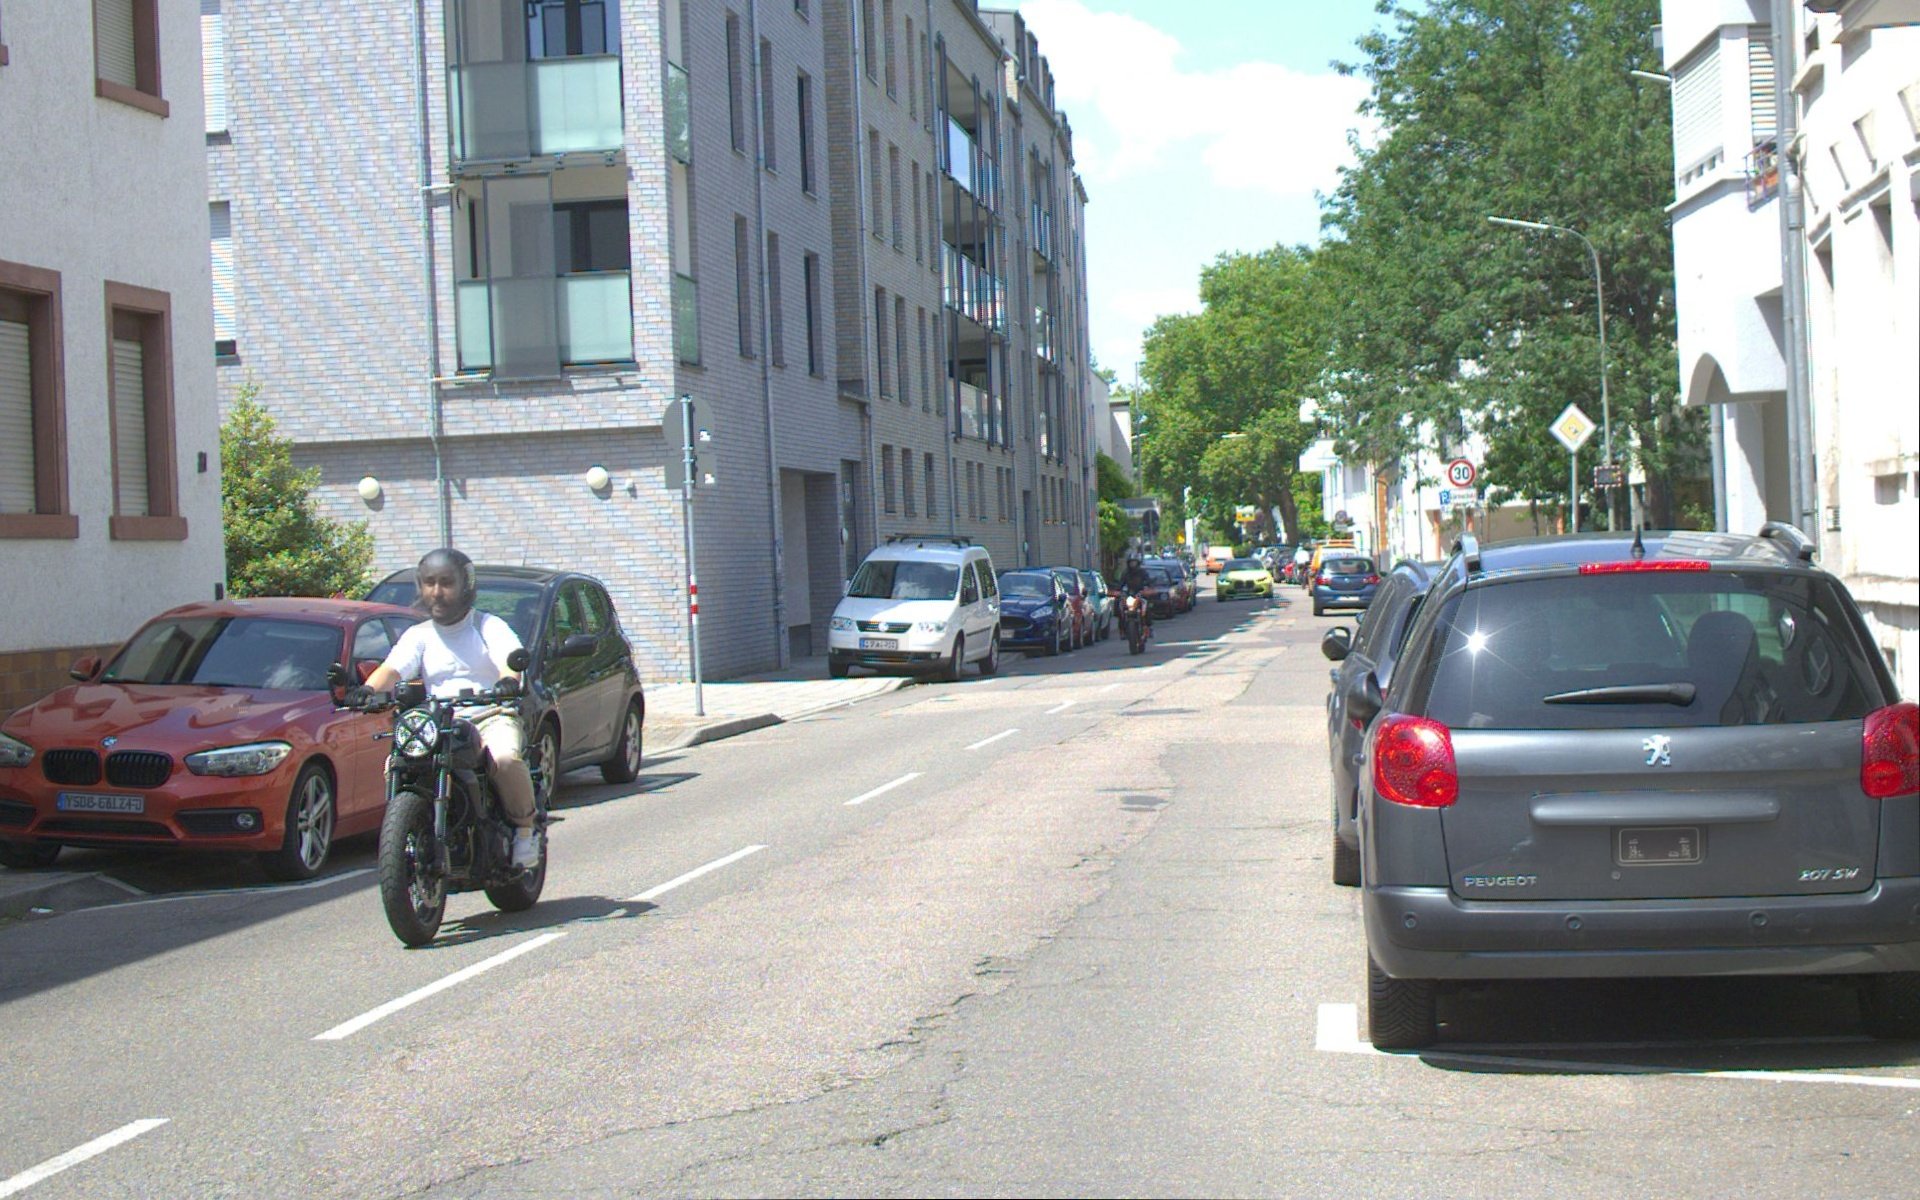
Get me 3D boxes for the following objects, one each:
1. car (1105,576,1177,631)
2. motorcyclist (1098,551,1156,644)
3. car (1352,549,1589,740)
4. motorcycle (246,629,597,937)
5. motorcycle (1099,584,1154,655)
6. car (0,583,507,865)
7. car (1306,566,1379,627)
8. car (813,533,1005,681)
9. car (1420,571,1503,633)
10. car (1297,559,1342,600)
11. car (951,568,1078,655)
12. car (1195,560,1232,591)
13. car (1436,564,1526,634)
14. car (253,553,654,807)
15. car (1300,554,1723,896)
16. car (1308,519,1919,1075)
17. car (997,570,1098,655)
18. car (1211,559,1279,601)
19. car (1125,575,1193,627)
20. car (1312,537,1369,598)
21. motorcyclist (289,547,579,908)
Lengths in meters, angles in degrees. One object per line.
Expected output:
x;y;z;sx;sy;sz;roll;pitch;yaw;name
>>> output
5.003;0.082;94.530;1.733;1.437;3.999;-1;0;6;car
2.759;-0.053;56.727;0.822;1.504;1.056;-1;0;8;motorcyclist
3.936;0.310;26.937;1.619;1.381;3.538;-1;0;5;car
-2.245;0.733;14.675;0.896;1.172;2.207;-1;0;7;motorcycle
2.754;0.308;56.726;0.688;1.119;2.027;-1;0;8;motorcycle
-4.098;0.627;19.583;1.834;1.412;4.288;-1;0;9;car
9.391;-0.107;84.191;1.716;1.397;3.999;-1;1;7;car
-0.650;0.062;47.169;1.758;1.885;4.334;1;1;11;car
12.028;0.040;82.593;1.779;1.415;3.999;-1;0;6;car
14.553;-0.837;139.139;1.711;1.628;3.703;-1;0;5;car
0.981;0.181;59.535;1.723;1.451;4.004;0;0;8;car
16.689;-1.609;226.507;2.157;2.007;4.000;-1;0;1;car
11.555;-0.032;76.409;1.692;1.415;3.999;-4;0;6;car
-3.492;0.505;24.422;1.795;1.641;3.944;0;0;8;car
2.571;0.514;16.690;1.729;1.415;4.544;-1;0;7;car
2.030;0.532;11.371;1.710;1.503;3.999;-1;0;6;car
1.672;0.225;64.815;1.591;1.548;3.570;0;0;6;car
9.754;-0.705;117.368;1.994;1.376;4.391;1;1;9;car
5.773;0.011;99.548;1.733;1.437;3.999;-1;0;6;car
12.997;-1.114;117.350;1.839;2.007;3.999;-1;1;7;car
-2.223;0.521;14.684;0.916;1.475;1.203;-1;0;7;motorcyclist
